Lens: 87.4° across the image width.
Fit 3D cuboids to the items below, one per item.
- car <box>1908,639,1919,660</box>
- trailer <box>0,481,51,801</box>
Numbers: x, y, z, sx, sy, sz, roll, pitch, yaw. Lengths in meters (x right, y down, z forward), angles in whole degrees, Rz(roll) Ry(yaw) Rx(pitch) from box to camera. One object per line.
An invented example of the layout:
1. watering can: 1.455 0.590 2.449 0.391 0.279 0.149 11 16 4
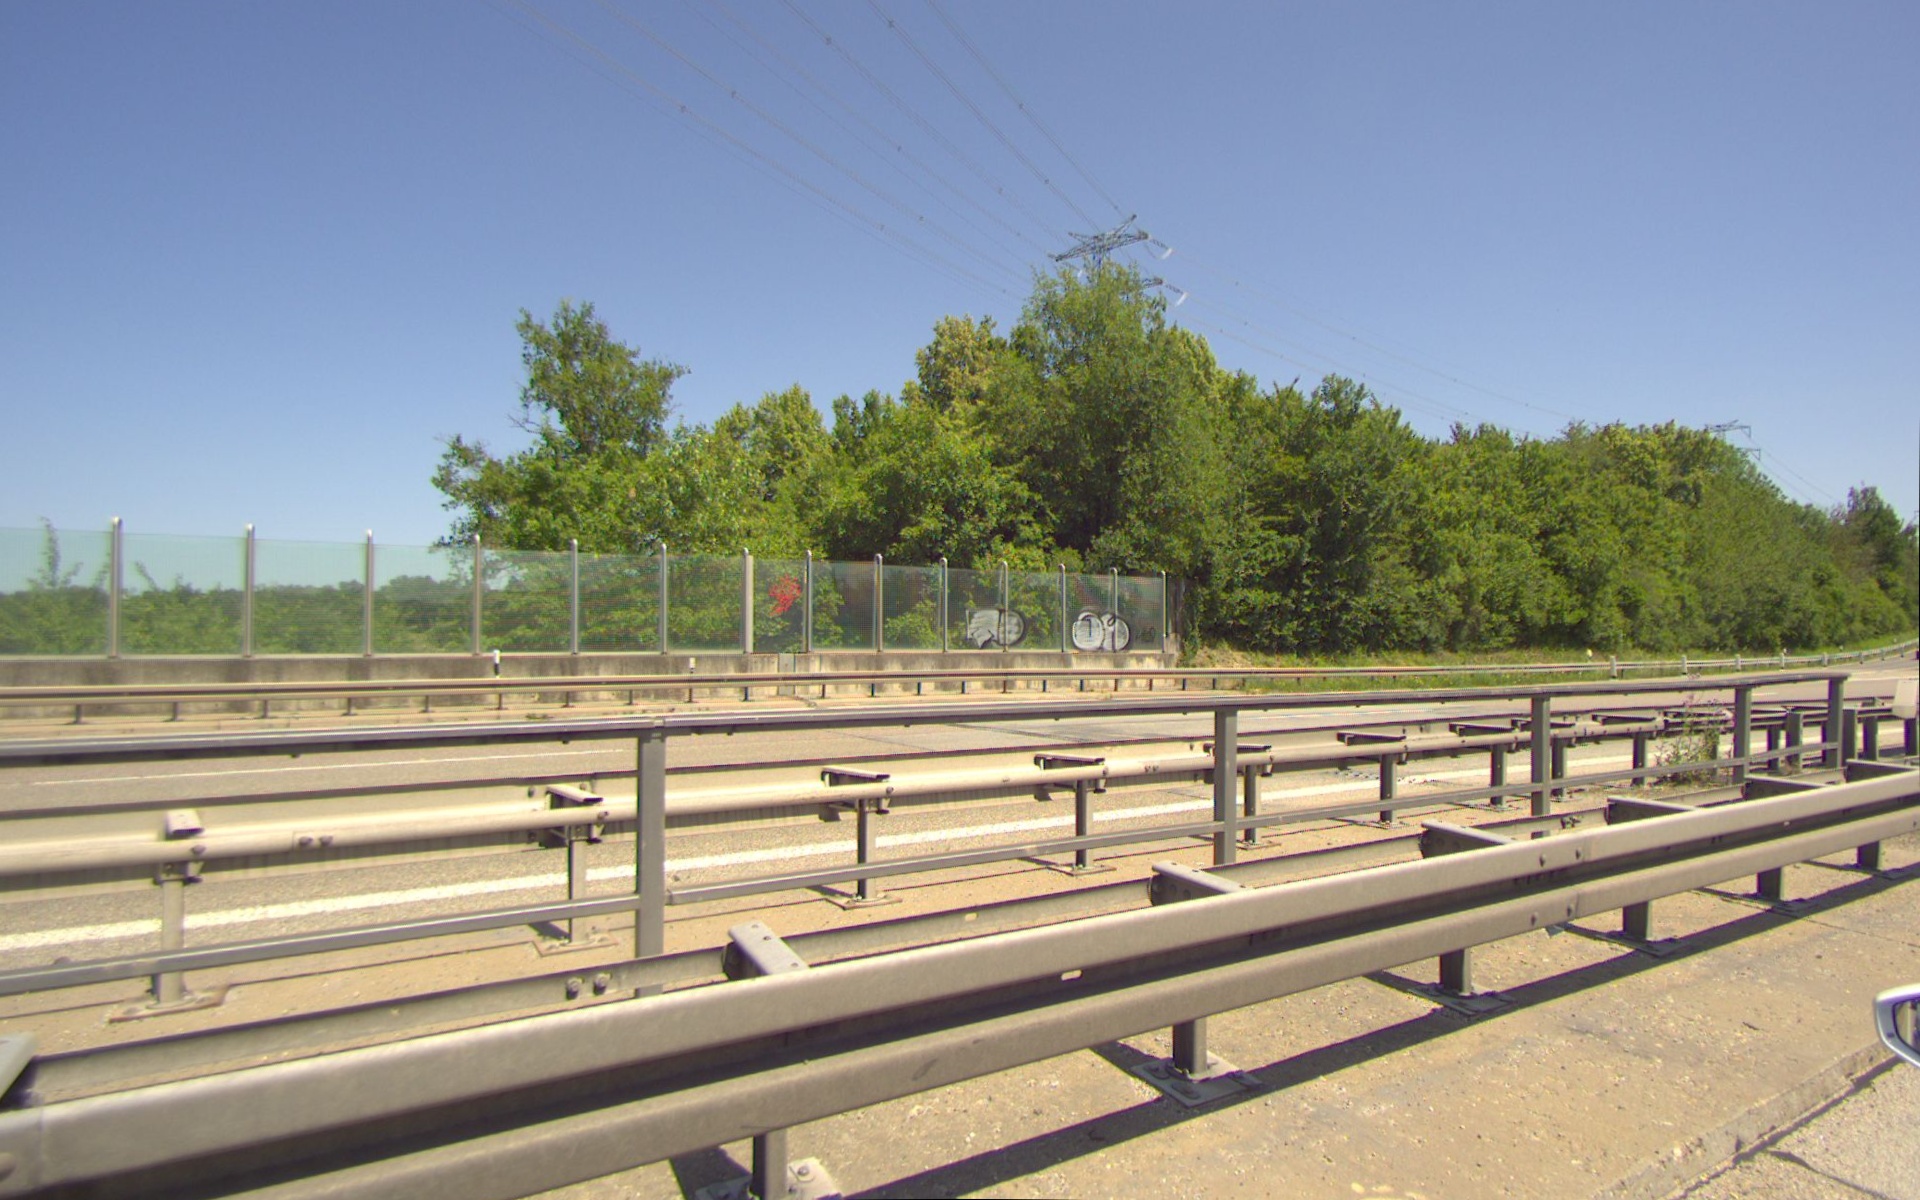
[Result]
1. car: 81.783 4.197 84.686 5.228 1.597 1.978 0 1 -38
2. trailer: -10.806 0.286 7.637 5.314 2.813 2.155 2 -3 -31
